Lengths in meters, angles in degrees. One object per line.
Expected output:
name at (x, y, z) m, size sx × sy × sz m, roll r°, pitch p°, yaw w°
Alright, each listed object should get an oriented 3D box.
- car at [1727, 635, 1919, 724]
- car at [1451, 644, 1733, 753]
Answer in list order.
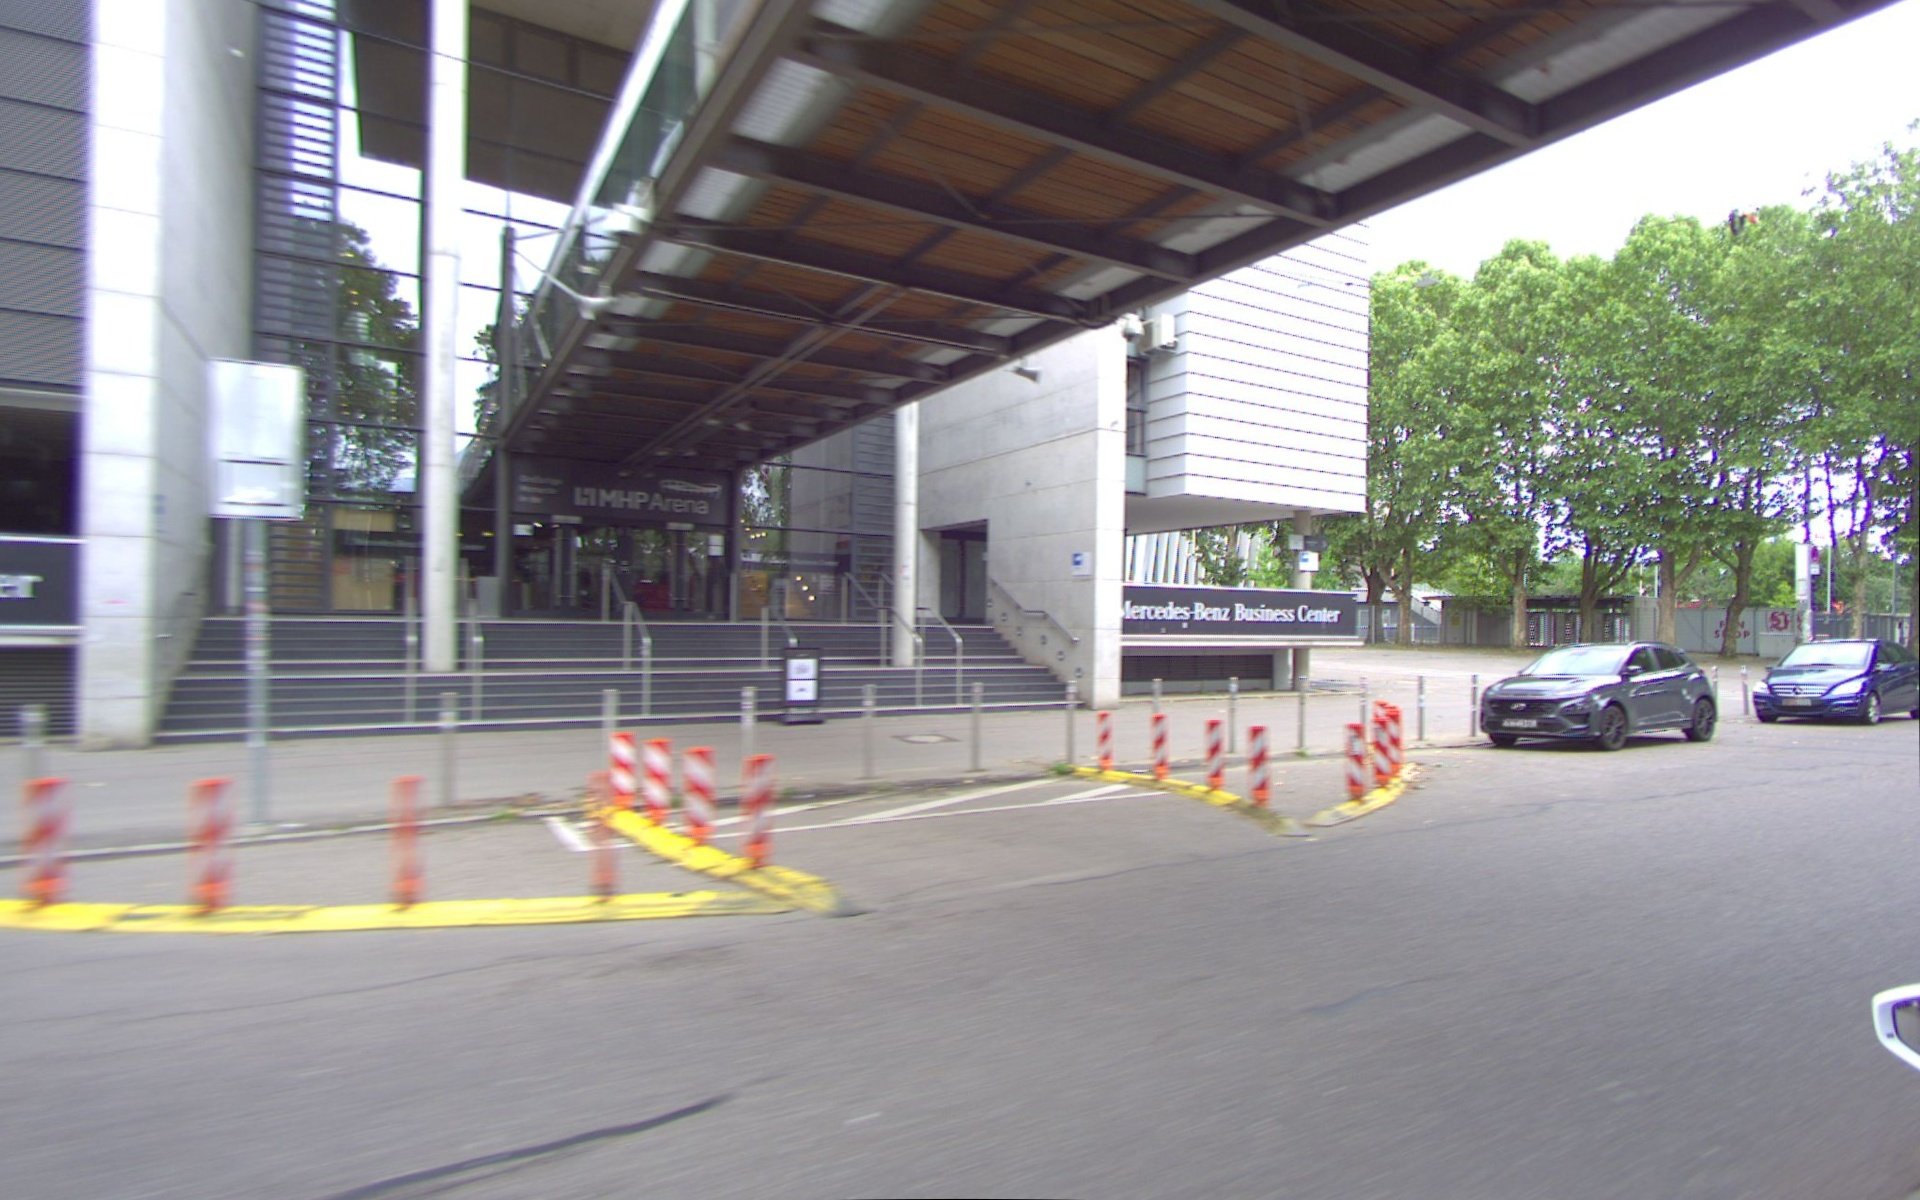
car at (17.395, 1.520, 19.943) m, size 4.064 × 1.605 × 1.985 m, roll 1°, pitch -4°, yaw -30°
car at (9.882, 1.444, 15.643) m, size 4.395 × 1.472 × 1.850 m, roll 1°, pitch -4°, yaw -30°
